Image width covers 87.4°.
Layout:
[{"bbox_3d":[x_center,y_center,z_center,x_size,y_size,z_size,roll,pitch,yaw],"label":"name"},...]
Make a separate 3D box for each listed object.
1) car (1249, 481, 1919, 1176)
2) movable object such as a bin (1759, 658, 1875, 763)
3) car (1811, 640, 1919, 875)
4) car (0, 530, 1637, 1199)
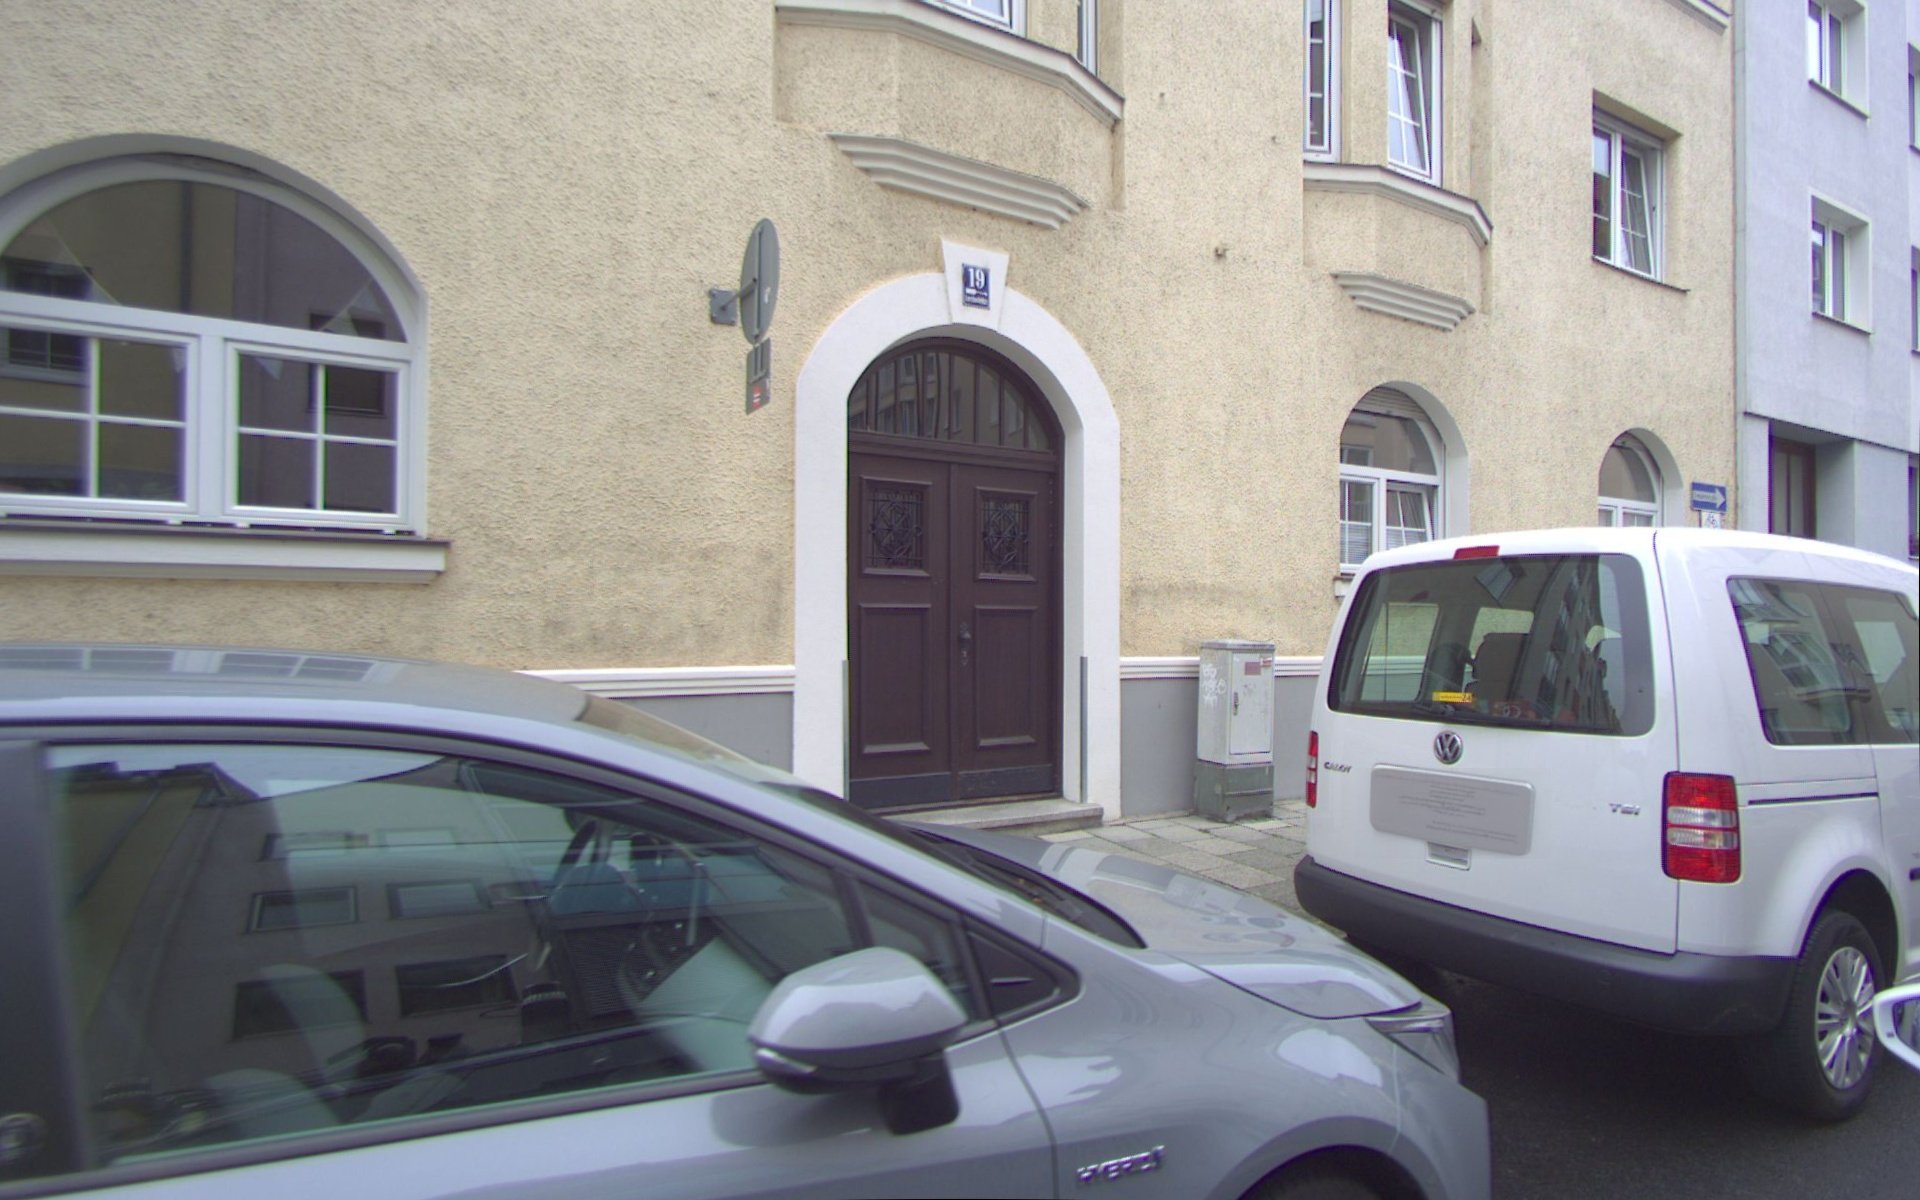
[{"bbox_3d":[3.439,0.710,4.418,4.197,1.812,1.717,2,-4,-29],"label":"car"},{"bbox_3d":[9.817,1.240,11.520,0.615,1.065,0.803,1,2,-30],"label":"movable object such as a bin"},{"bbox_3d":[7.597,1.017,6.821,3.692,1.429,1.644,3,-4,-31],"label":"car"},{"bbox_3d":[-0.853,0.747,1.672,4.063,1.494,1.665,3,-4,-30],"label":"car"}]
